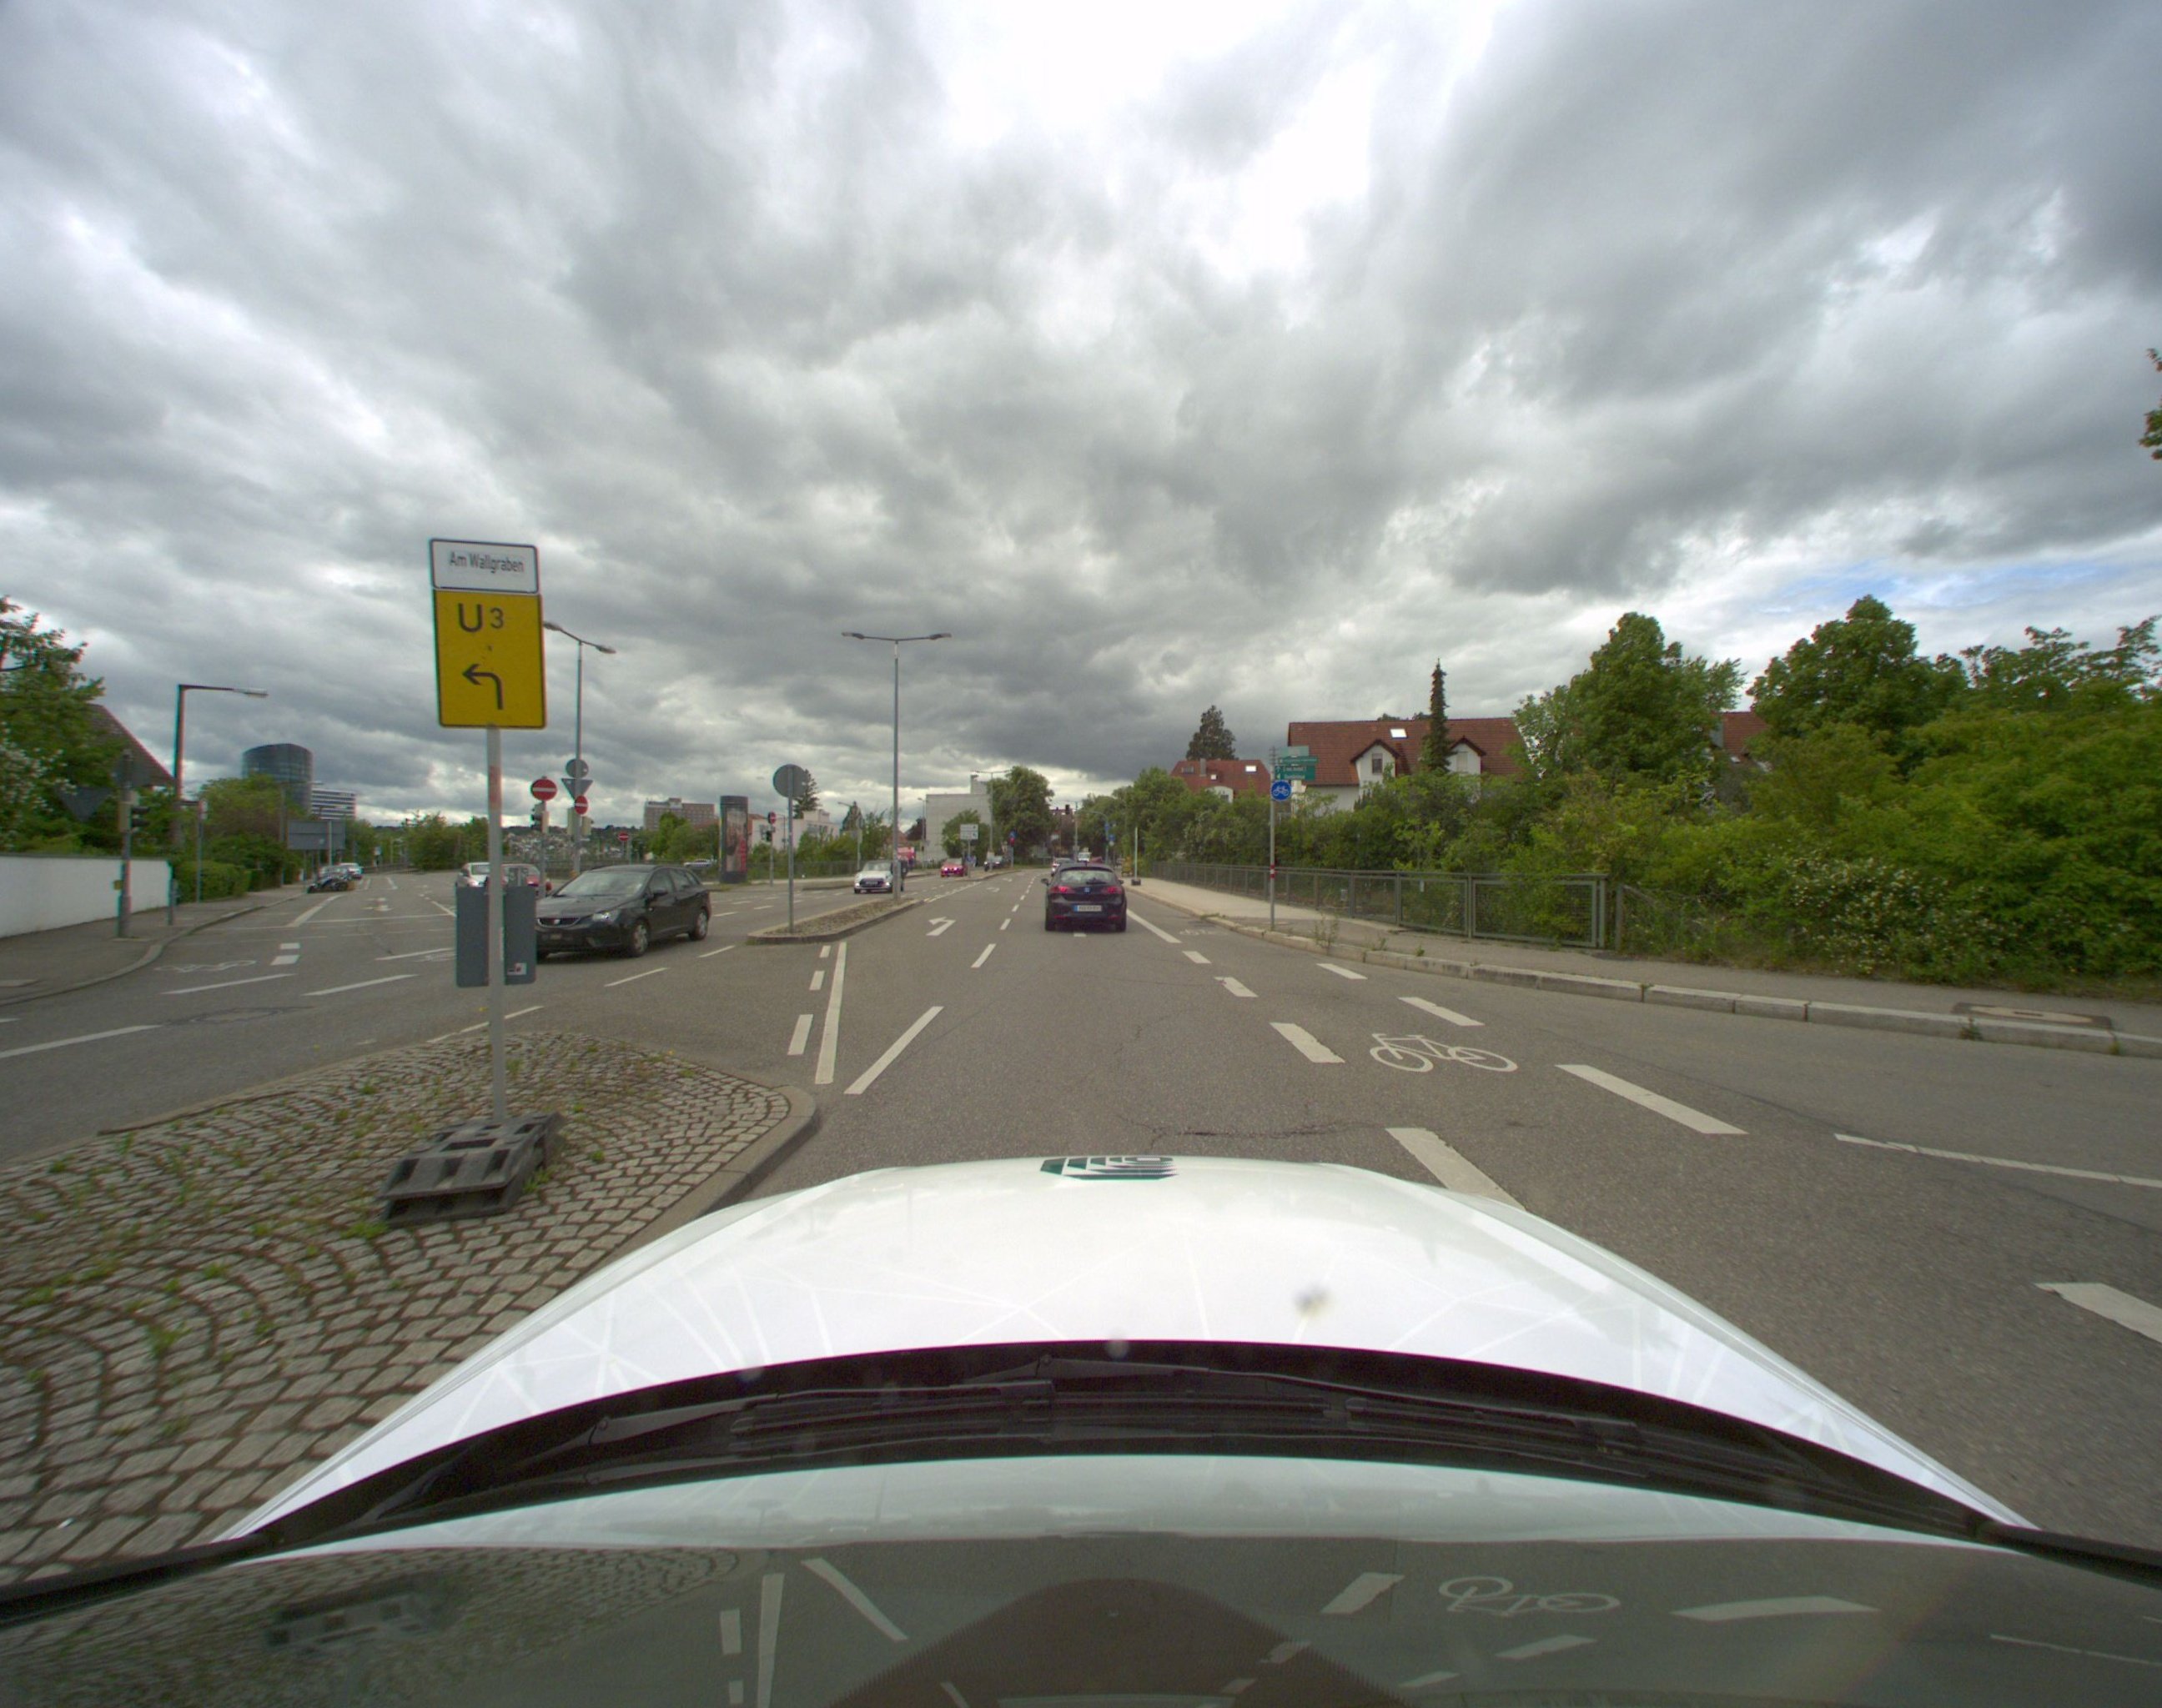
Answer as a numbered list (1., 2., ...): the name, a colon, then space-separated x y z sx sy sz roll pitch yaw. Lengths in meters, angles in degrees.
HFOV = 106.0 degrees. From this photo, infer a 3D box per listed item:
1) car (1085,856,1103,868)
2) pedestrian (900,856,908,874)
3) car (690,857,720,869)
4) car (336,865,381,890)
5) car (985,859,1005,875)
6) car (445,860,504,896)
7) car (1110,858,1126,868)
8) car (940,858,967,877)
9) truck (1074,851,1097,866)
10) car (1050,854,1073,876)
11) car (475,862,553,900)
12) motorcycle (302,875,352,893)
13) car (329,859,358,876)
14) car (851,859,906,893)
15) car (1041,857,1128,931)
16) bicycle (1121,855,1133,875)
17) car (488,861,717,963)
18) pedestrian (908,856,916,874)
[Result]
1. car: 1.661 1.041 107.173 1.938 1.481 4.246 -1 0 -4
2. pedestrian: -16.765 1.036 77.197 0.655 1.633 0.830 1 -1 -8
3. car: -55.432 1.350 120.095 4.010 1.662 1.720 0 1 -28
4. car: -49.201 1.549 55.456 4.322 1.607 2.012 -1 -1 45
5. car: -8.963 1.321 85.118 1.819 1.626 4.272 0 -1 -4
6. car: -28.189 1.134 37.792 1.657 1.535 4.079 -2 -1 -44
7. car: 6.320 1.470 140.470 1.979 1.684 4.015 0 -1 14
8. car: -9.999 1.018 64.045 1.717 1.448 4.061 0 -1 -4
9. truck: 0.825 0.702 128.877 2.110 2.265 6.830 -1 -1 14
10. car: -1.553 0.866 65.547 1.813 1.699 4.251 -1 0 -1
11. car: -23.557 1.132 33.791 3.655 1.447 1.786 -2 -1 41
12. motorcycle: -45.859 1.785 49.539 0.695 0.999 2.130 -5 -2 16
13. car: -73.037 1.355 80.604 4.322 1.607 1.911 -1 -1 45
14. car: -8.981 0.944 36.381 1.639 1.409 3.815 0 -1 -2
15. car: 0.120 0.821 18.398 1.753 1.449 3.715 -1 0 1
16. bicycle: 3.546 0.837 63.107 0.888 1.510 2.785 -1 0 3
17. car: -7.754 0.849 13.670 1.717 1.391 3.912 -2 0 -4
18. pedestrian: -16.007 1.033 77.237 0.655 1.633 1.068 1 -1 -8
